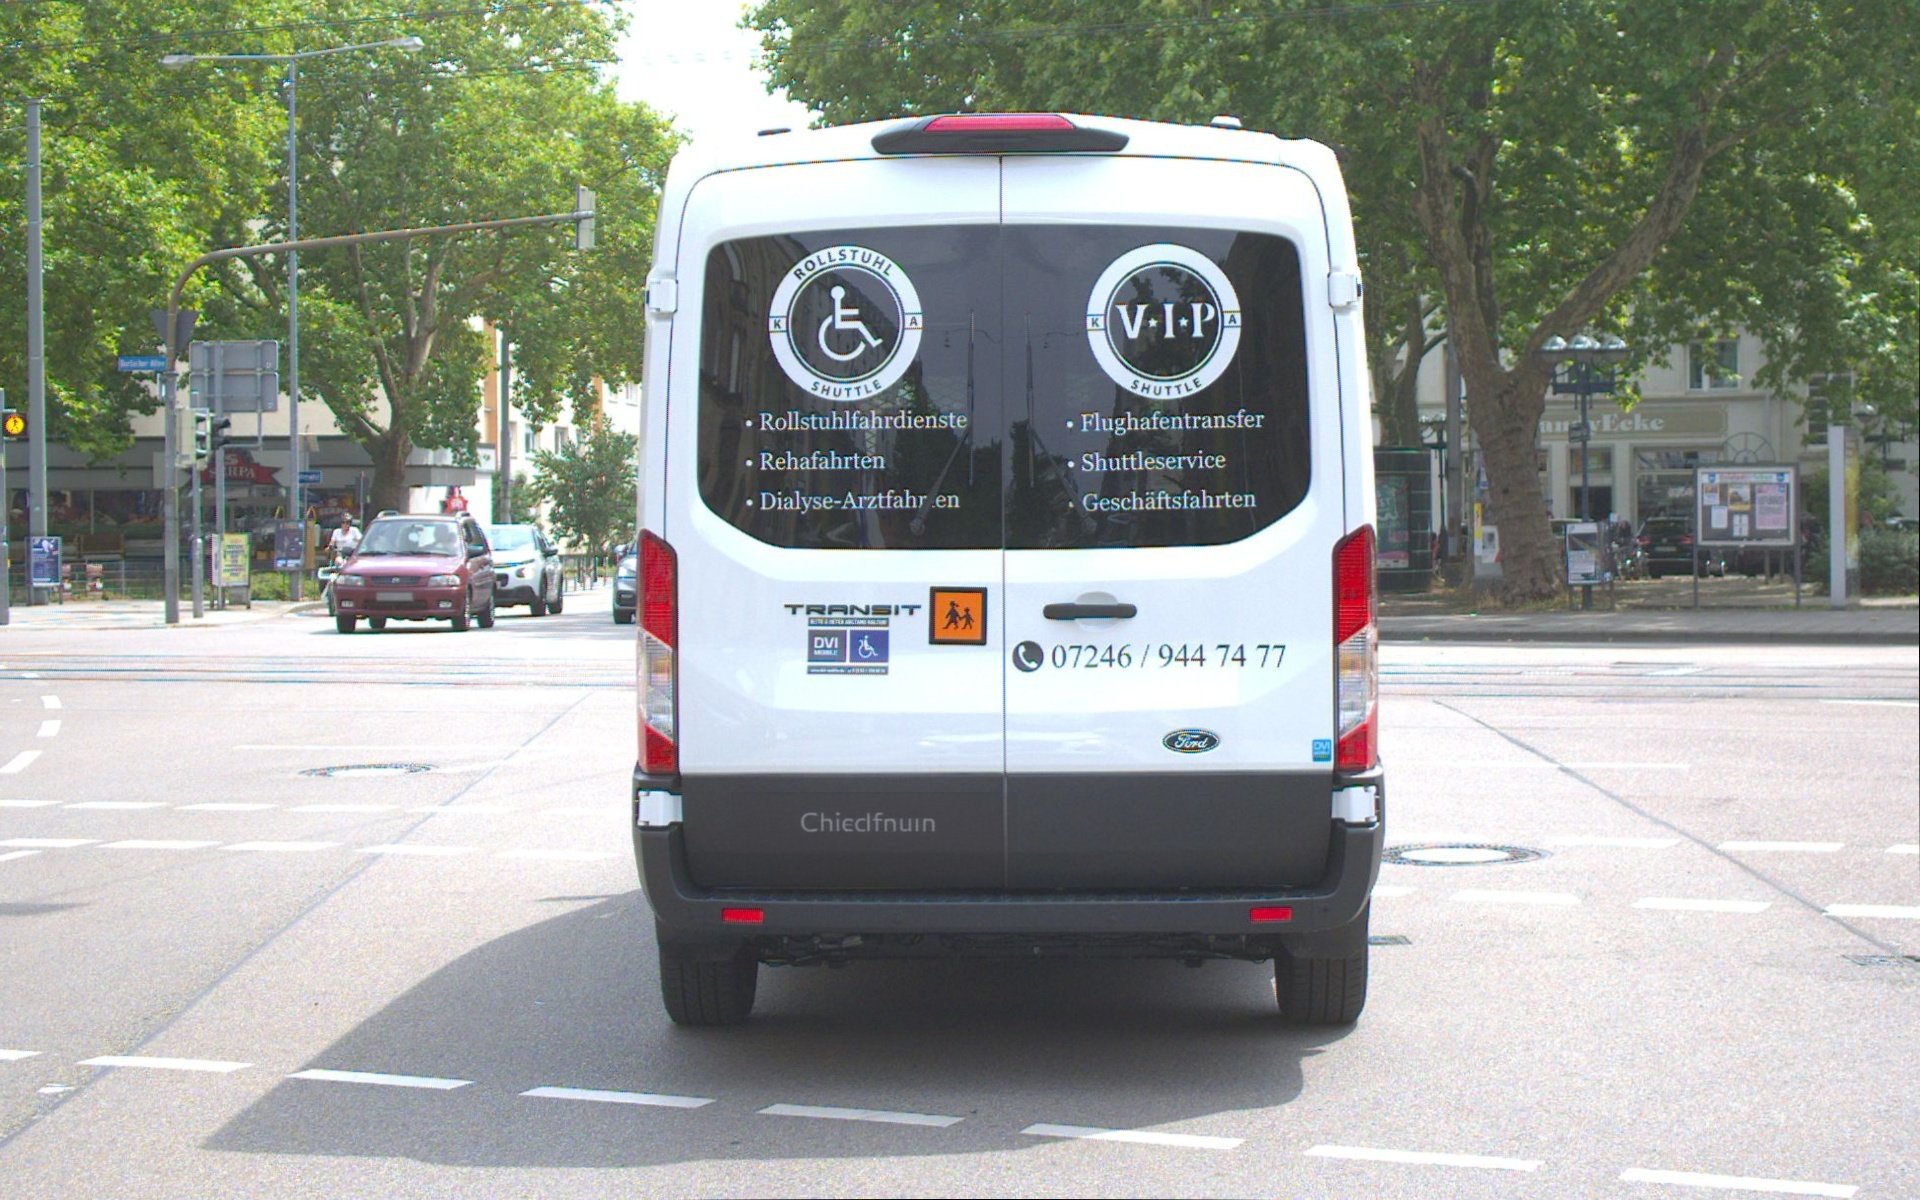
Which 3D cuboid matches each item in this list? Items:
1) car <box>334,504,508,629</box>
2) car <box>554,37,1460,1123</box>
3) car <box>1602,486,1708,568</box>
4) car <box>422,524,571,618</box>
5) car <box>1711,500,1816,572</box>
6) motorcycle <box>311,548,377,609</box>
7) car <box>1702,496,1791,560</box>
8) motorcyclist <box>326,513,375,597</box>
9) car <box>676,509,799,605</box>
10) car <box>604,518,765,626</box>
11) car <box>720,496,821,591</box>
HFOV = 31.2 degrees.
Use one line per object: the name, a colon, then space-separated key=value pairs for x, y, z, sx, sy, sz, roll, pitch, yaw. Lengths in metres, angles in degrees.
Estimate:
car: x=-6.779 y=-0.454 z=43.530 sx=1.592 sy=1.502 sz=3.807 roll=-1 pitch=1 yaw=0
car: x=0.034 y=-0.138 z=10.874 sx=2.181 sy=2.638 sz=4.629 roll=-2 pitch=2 yaw=-2
car: x=16.776 y=-1.779 z=83.114 sx=1.994 sy=1.924 sz=4.000 roll=-1 pitch=1 yaw=4
car: x=-7.392 y=-0.498 z=55.107 sx=1.743 sy=1.422 sz=4.032 roll=-1 pitch=1 yaw=1
car: x=19.282 y=-1.559 z=82.648 sx=1.805 sy=1.678 sz=4.000 roll=-1 pitch=1 yaw=4
motorcycle: x=-10.203 y=-0.367 z=57.020 sx=0.683 sy=0.968 sz=2.324 roll=-1 pitch=2 yaw=-1
car: x=21.272 y=-1.948 z=92.906 sx=1.806 sy=1.678 sz=3.996 roll=0 pitch=2 yaw=21
motorcyclist: x=-10.215 y=-0.751 z=57.611 sx=0.683 sy=1.390 sz=0.682 roll=-1 pitch=1 yaw=-1
car: x=-3.800 y=-0.767 z=59.348 sx=1.743 sy=1.582 sz=4.329 roll=-1 pitch=1 yaw=1
car: x=-3.812 y=-0.419 z=48.195 sx=1.832 sy=1.422 sz=4.121 roll=-1 pitch=1 yaw=1
car: x=-3.969 y=-1.216 z=72.597 sx=1.743 sy=1.924 sz=4.854 roll=-1 pitch=1 yaw=1
